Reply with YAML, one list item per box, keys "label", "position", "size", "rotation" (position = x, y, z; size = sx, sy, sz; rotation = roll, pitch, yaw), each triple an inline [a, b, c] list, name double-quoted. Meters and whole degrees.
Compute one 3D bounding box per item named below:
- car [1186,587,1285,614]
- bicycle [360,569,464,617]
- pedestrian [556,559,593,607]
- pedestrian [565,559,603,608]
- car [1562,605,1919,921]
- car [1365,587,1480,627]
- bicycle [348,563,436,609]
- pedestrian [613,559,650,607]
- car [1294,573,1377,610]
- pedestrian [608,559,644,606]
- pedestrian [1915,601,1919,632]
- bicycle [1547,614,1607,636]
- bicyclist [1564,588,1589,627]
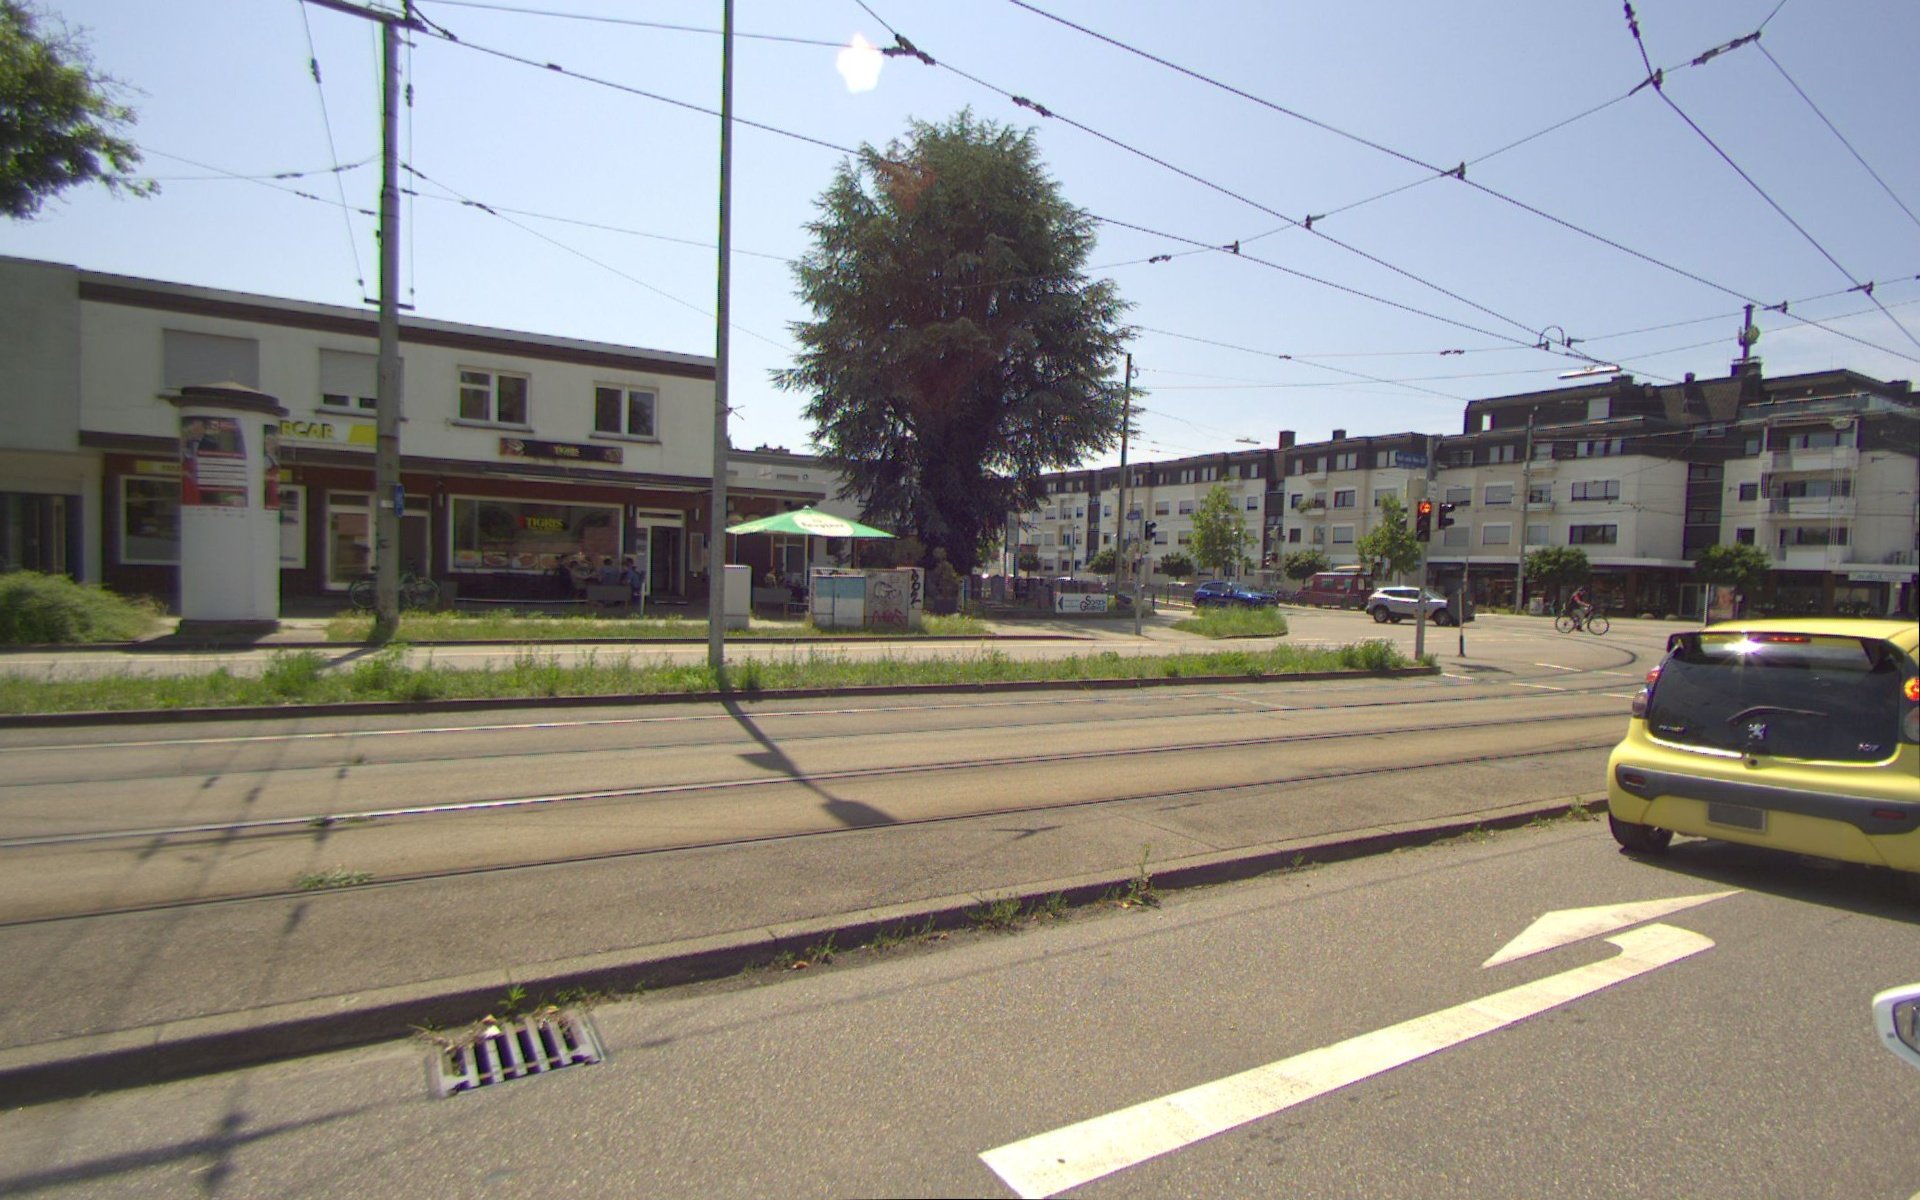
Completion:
- label: "car"
  position: [13.911, 0.014, 50.951]
  size: [1.919, 1.253, 4.741]
  rotation: [2, 0, -33]
- label: "bicycle"
  position: [-12.263, -0.146, 22.504]
  size: [2.006, 0.992, 0.607]
  rotation: [2, 0, -30]
- label: "pedestrian"
  position: [-10.661, -0.467, 27.783]
  size: [0.832, 1.285, 0.586]
  rotation: [2, 0, -30]
- label: "pedestrian"
  position: [-10.152, -0.447, 27.124]
  size: [0.832, 1.285, 0.586]
  rotation: [2, 0, -30]
- label: "car"
  position: [5.493, 0.778, 6.219]
  size: [3.254, 1.464, 1.715]
  rotation: [0, 0, -31]
- label: "car"
  position: [19.926, 0.284, 43.348]
  size: [4.091, 1.605, 1.930]
  rotation: [2, 0, 41]
- label: "bicycle"
  position: [-13.270, -0.314, 23.497]
  size: [1.738, 0.992, 0.536]
  rotation: [2, 0, -30]
- label: "pedestrian"
  position: [-9.132, -0.458, 27.903]
  size: [0.832, 1.285, 0.586]
  rotation: [2, 0, -30]
- label: "car"
  position: [25.869, -0.589, 69.371]
  size: [2.219, 2.372, 5.038]
  rotation: [2, 0, -31]
- label: "pedestrian"
  position: [-9.485, -0.484, 28.502]
  size: [0.832, 1.285, 0.586]
  rotation: [2, 0, -30]
- label: "pedestrian"
  position: [54.995, 0.935, 57.283]
  size: [0.598, 1.777, 0.506]
  rotation: [2, 0, 16]
- label: "bicycle"
  position: [24.311, 0.970, 39.587]
  size: [1.956, 0.794, 0.464]
  rotation: [2, 0, 40]
- label: "bicyclist"
  position: [24.316, 0.301, 39.608]
  size: [0.741, 1.521, 0.480]
  rotation: [2, 0, 39]
